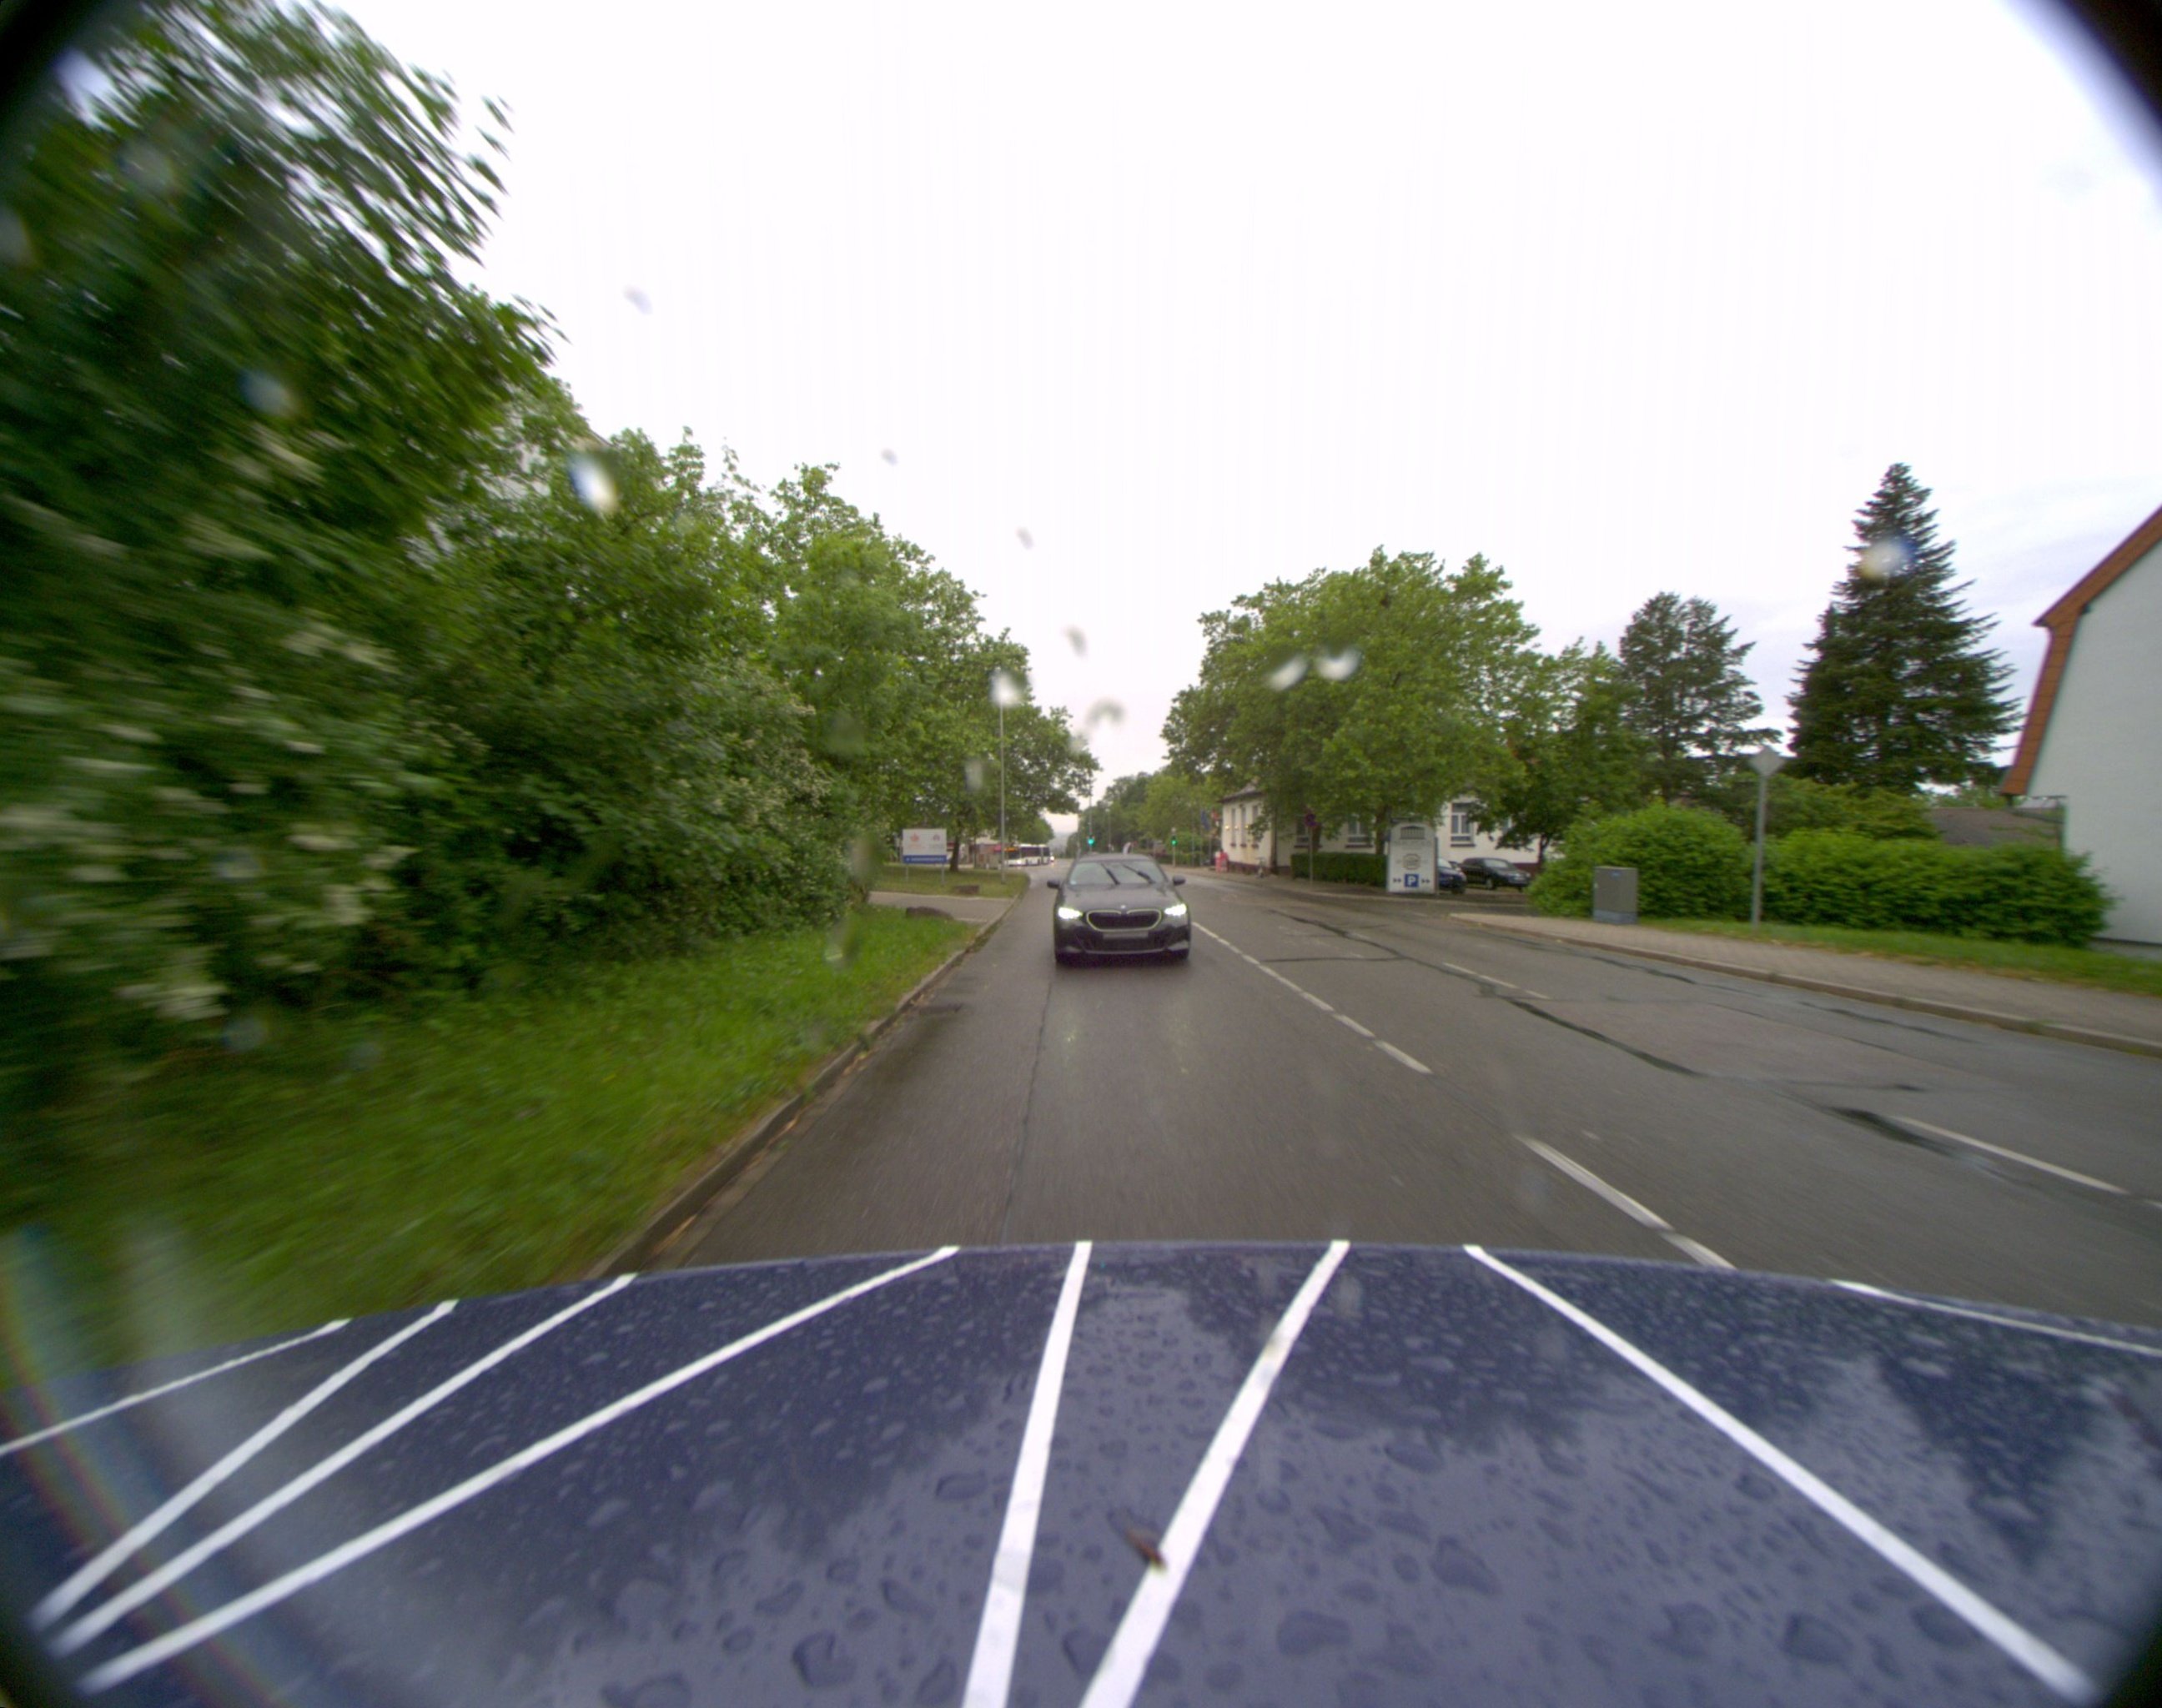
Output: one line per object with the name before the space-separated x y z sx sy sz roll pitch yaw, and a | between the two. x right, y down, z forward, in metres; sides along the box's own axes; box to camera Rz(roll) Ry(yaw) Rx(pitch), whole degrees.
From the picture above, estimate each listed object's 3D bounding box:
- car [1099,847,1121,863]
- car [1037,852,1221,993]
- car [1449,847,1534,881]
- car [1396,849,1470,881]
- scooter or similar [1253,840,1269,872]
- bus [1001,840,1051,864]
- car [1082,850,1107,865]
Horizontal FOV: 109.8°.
car | 3.073 0.133 81.572 1.999 1.420 4.388 4 -1 -1
car | 0.442 0.785 10.829 1.999 1.586 4.145 -1 0 -5
car | 21.512 0.507 40.013 1.999 1.675 4.256 1 0 -3
car | 18.595 0.532 40.413 1.756 1.433 4.283 3 1 -2
scooter or similar | 10.098 0.083 42.600 0.402 1.765 1.511 -1 2 -5
bus | -7.461 -0.346 105.098 2.894 2.770 10.398 -3 1 20
car | 1.546 0.362 88.426 2.001 1.652 4.298 0 0 -13
